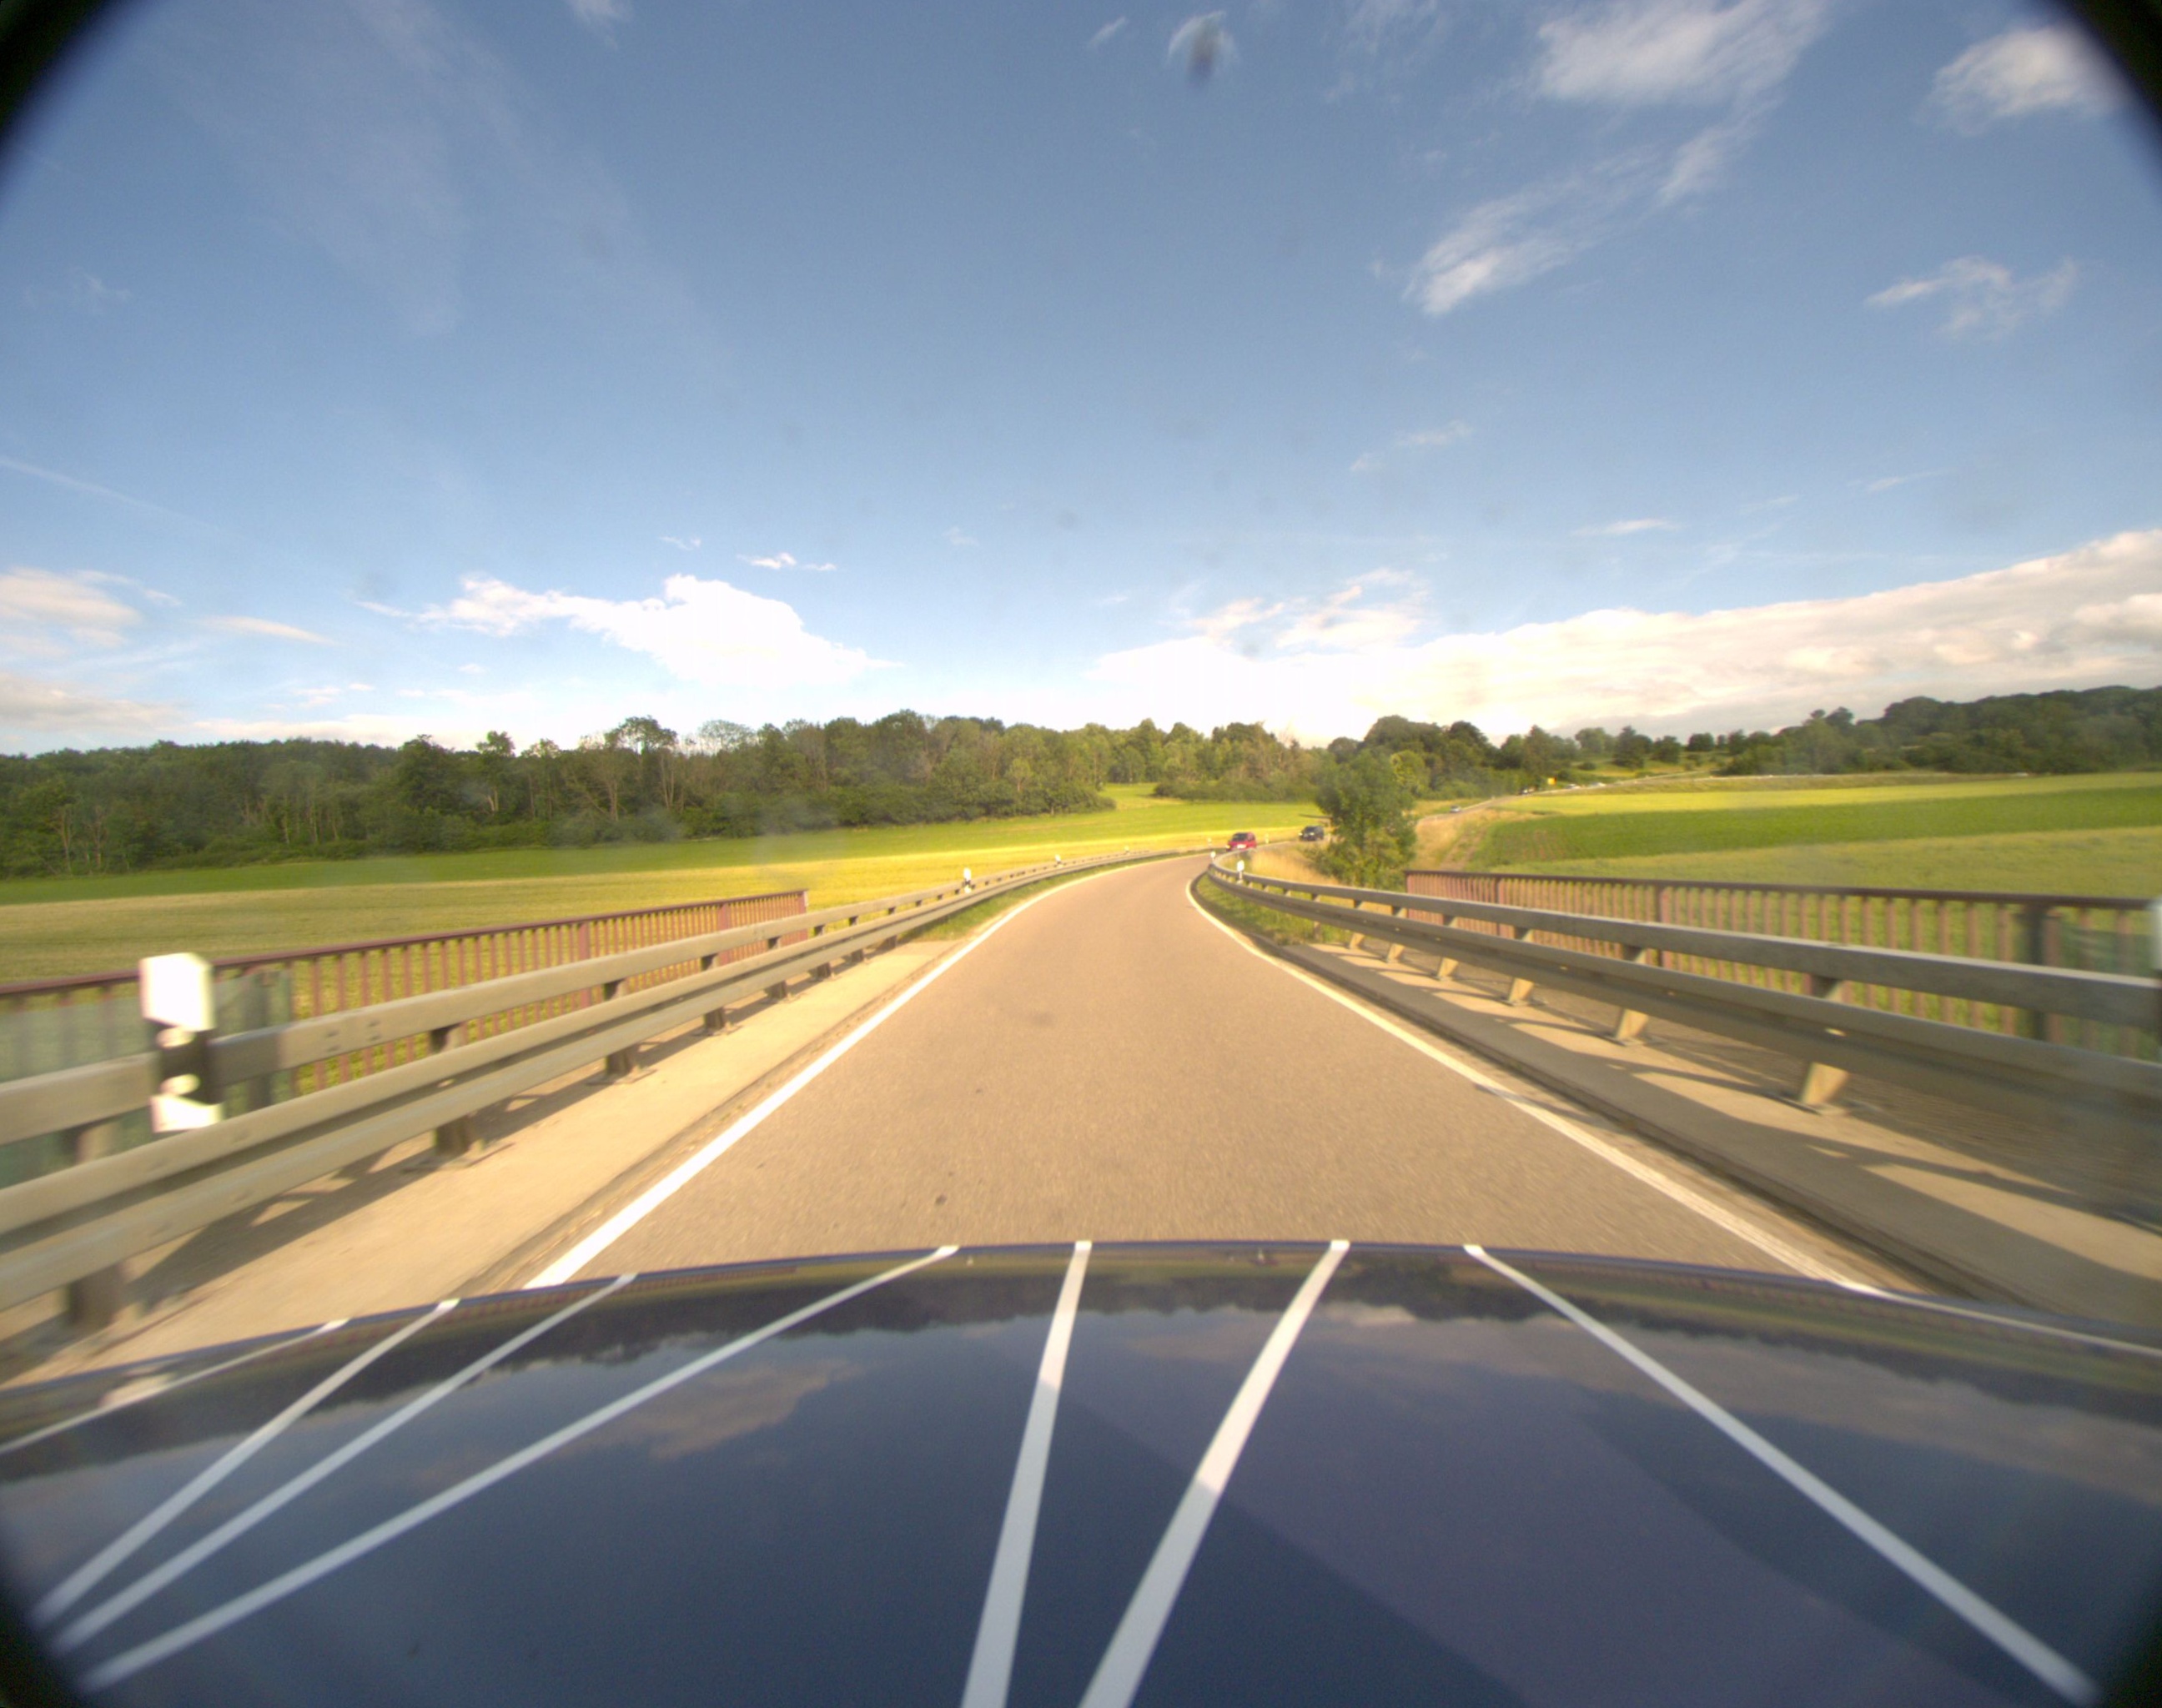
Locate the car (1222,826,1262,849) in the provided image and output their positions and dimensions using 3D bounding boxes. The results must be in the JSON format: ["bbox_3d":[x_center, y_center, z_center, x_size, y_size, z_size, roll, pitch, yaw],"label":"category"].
[{"bbox_3d":[13.760,-1.419,64.769,1.817,1.646,4.005,-3,4,35],"label":"car"}]

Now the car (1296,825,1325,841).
[{"bbox_3d":[25.735,-2.365,85.195,1.817,1.602,4.006,1,4,36],"label":"car"}]
